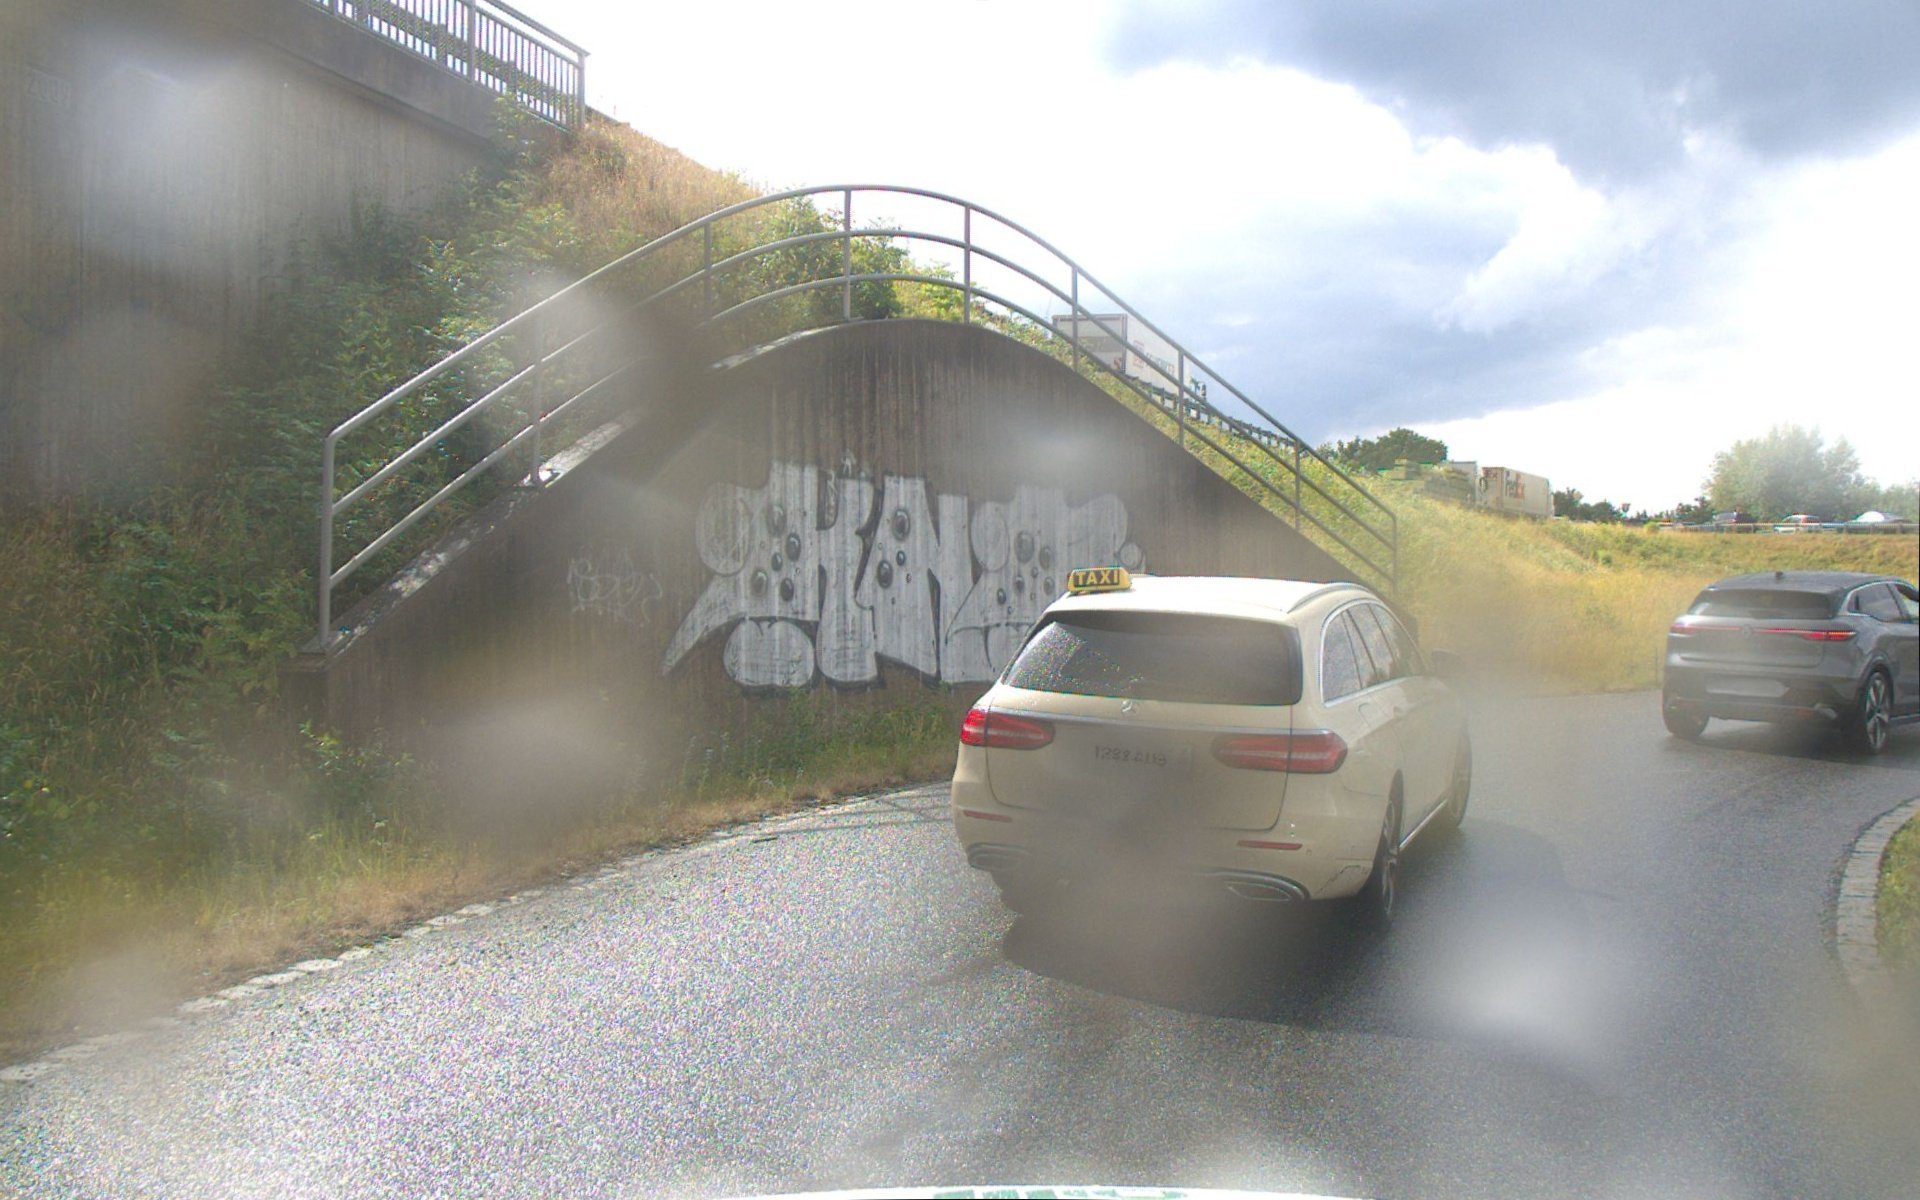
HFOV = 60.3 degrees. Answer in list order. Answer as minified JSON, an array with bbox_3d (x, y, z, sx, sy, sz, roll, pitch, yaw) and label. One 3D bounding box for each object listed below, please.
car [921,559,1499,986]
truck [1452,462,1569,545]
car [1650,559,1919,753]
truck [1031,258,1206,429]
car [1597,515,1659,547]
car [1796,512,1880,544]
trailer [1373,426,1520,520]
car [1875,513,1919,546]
[{"bbox_3d":[1.583,0.592,8.439,1.877,1.533,4.595,0,1,22],"label":"car"},{"bbox_3d":[40.317,-6.782,120.357,4.377,4.582,19.340,1,-1,29],"label":"truck"},{"bbox_3d":[8.102,0.407,15.343,3.969,1.551,1.696,-1,2,-44],"label":"car"},{"bbox_3d":[5.433,-8.221,54.622,3.116,4.035,9.234,1,-1,23],"label":"truck"},{"bbox_3d":[46.635,-4.815,115.482,3.908,2.049,1.825,1,-1,25],"label":"car"},{"bbox_3d":[57.930,-4.731,109.226,1.963,1.894,5.031,0,0,-18],"label":"car"},{"bbox_3d":[30.751,-7.649,103.424,4.331,4.025,20.180,1,-1,29],"label":"trailer"},{"bbox_3d":[58.828,-4.341,101.296,1.976,1.894,4.457,0,0,-34],"label":"car"}]
